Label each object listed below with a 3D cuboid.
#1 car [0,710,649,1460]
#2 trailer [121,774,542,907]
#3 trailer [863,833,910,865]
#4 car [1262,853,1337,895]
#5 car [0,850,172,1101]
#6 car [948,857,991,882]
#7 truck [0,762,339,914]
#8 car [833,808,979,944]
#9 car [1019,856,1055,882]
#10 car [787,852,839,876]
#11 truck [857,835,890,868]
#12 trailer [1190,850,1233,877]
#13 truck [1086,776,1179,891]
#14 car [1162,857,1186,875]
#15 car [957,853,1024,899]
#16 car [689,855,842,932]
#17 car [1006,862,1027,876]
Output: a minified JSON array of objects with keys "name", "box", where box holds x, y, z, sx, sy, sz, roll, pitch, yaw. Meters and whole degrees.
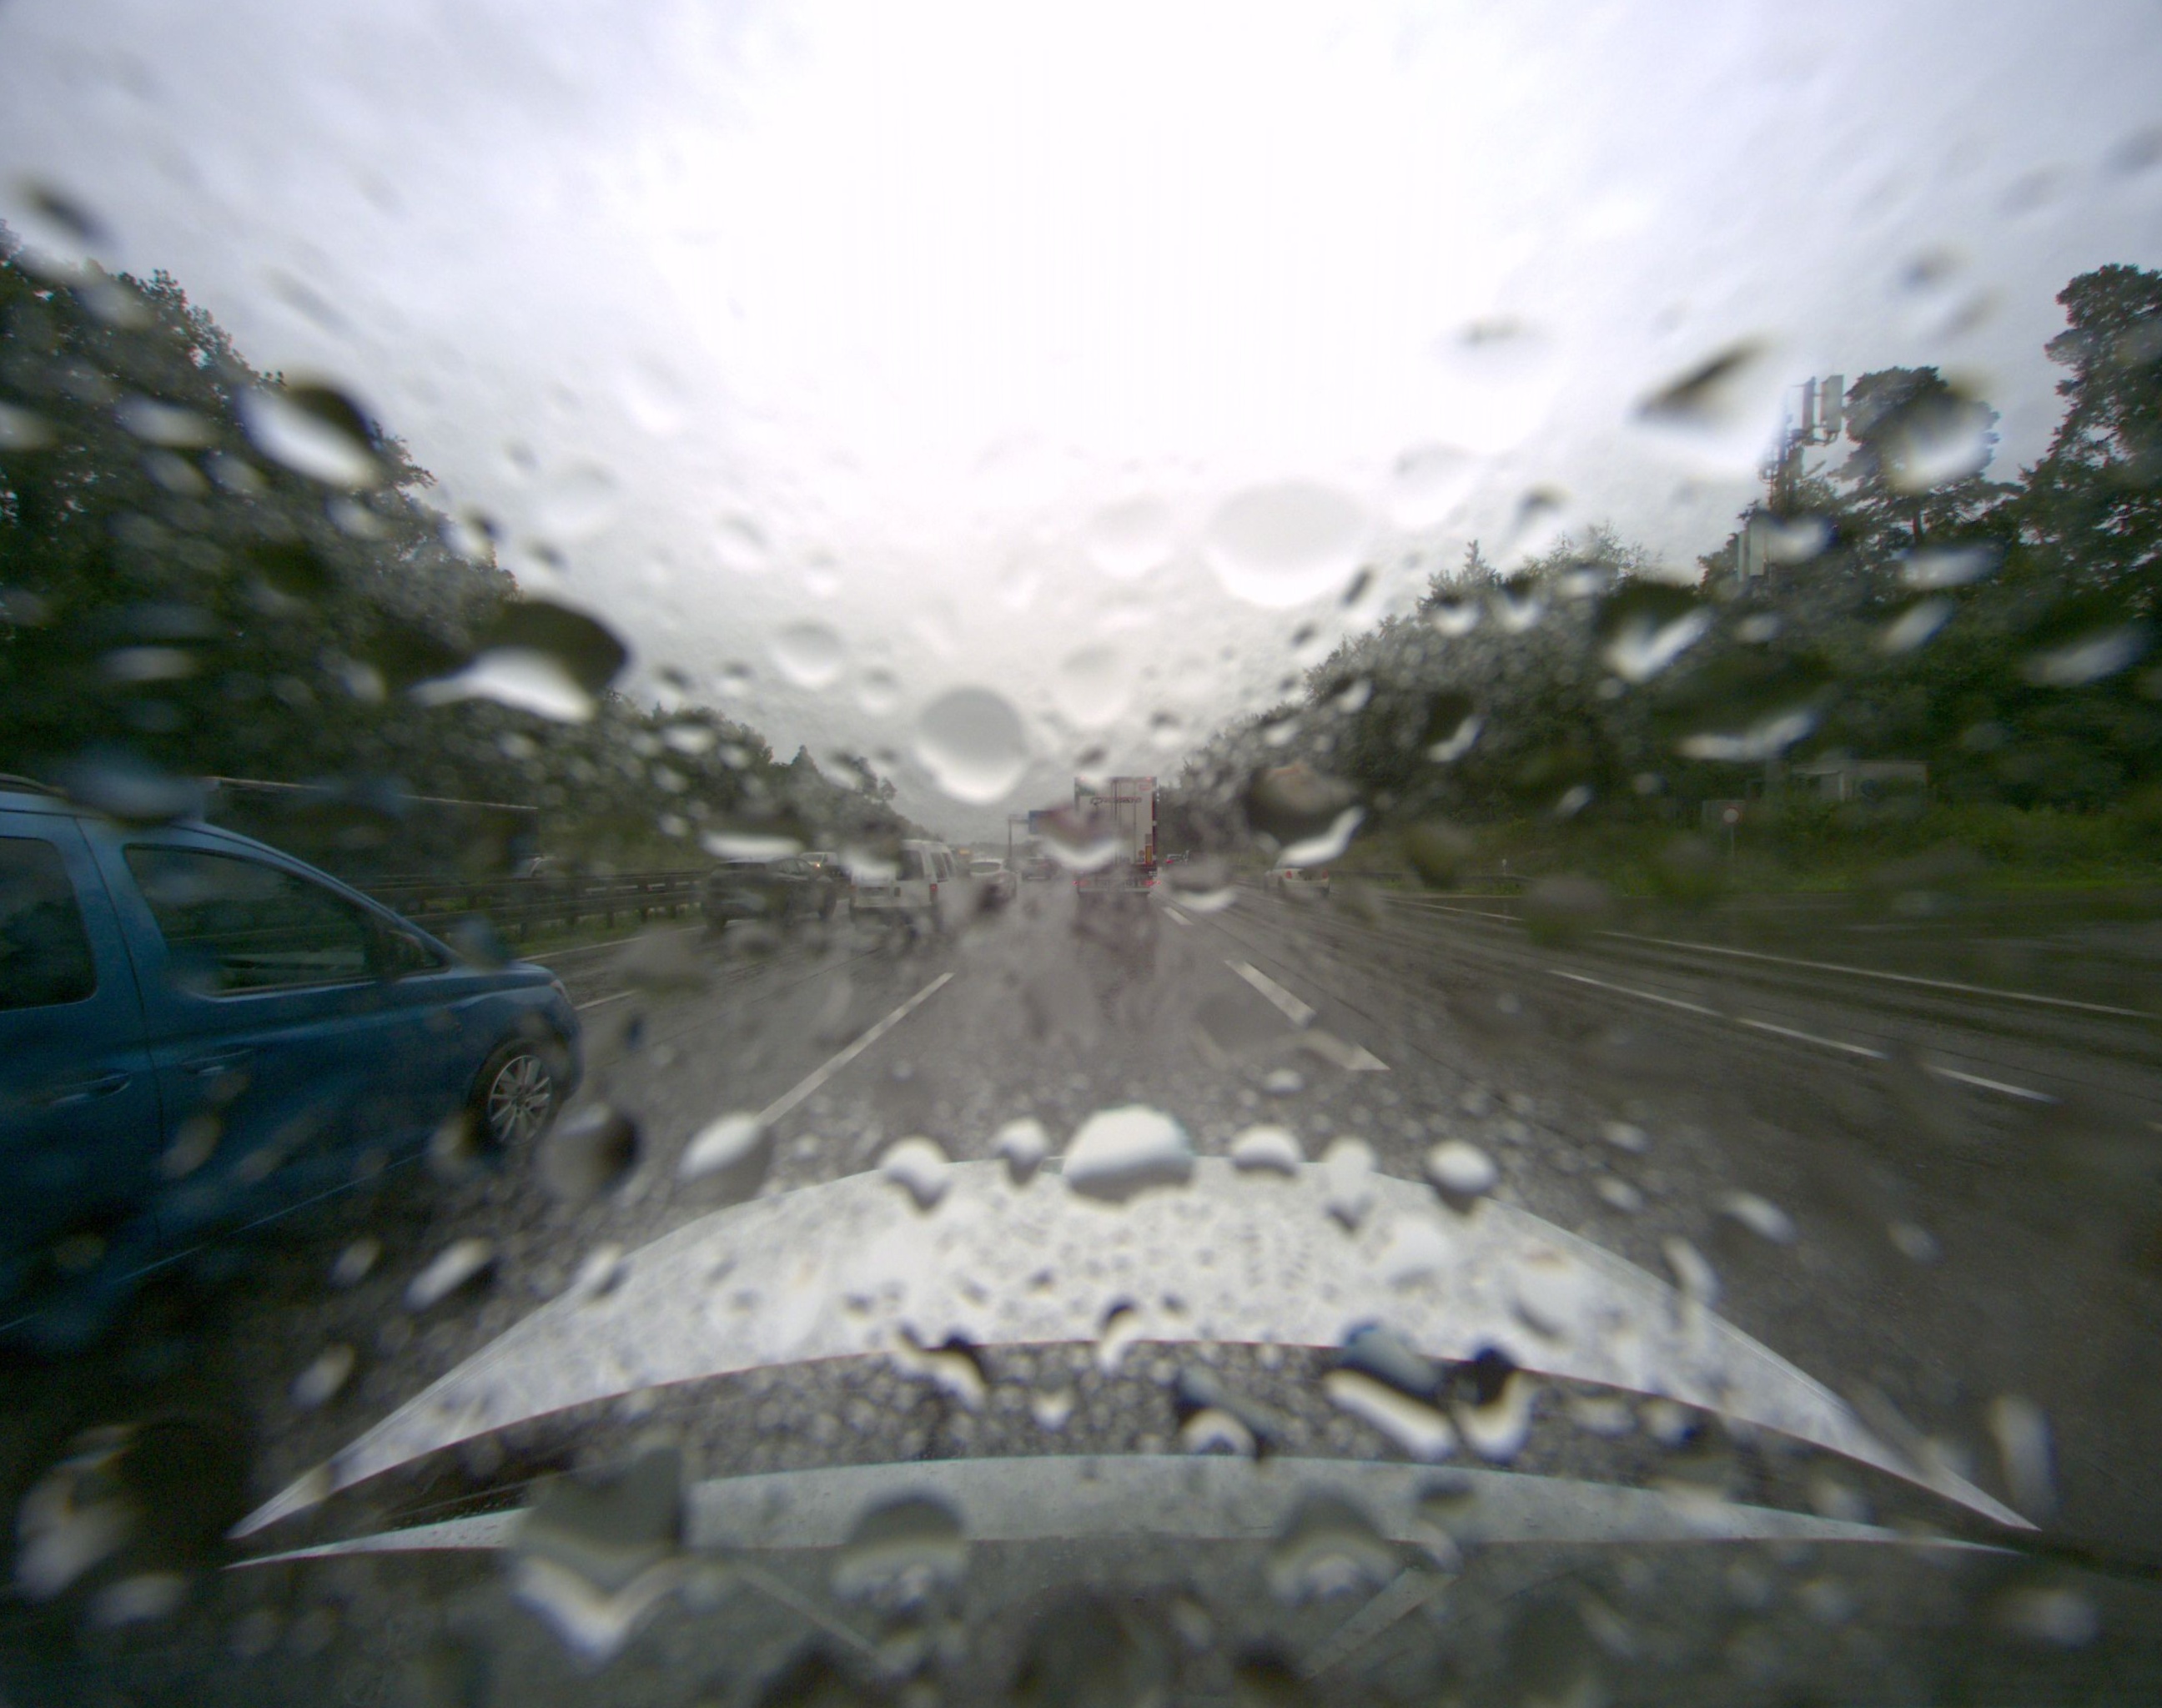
[{"name":"car","box":[-3.870,0.594,2.367,2.259,1.912,5.021,0,0,4]},{"name":"trailer","box":[-26.168,-0.395,30.331,3.014,3.818,13.560,-1,0,1]},{"name":"trailer","box":[-26.299,-0.612,110.985,2.710,3.954,13.960,-2,0,1]},{"name":"car","box":[7.999,0.695,30.190,1.783,1.407,4.230,0,0,2]},{"name":"car","box":[-7.835,0.785,3.896,1.838,1.591,4.469,0,0,2]},{"name":"car","box":[-6.359,0.854,46.755,1.840,1.330,4.466,0,0,0]},{"name":"truck","box":[-26.191,-0.408,23.853,3.009,3.818,6.266,-1,0,1]},{"name":"car","box":[-3.645,0.408,18.014,2.206,2.573,5.013,0,0,-1]},{"name":"car","box":[-2.842,0.965,53.737,1.837,1.591,4.471,0,0,4]},{"name":"car","box":[-18.257,0.677,55.740,1.987,1.507,4.706,-1,0,0]},{"name":"truck","box":[-26.420,-0.287,103.875,2.694,3.954,4.892,-2,0,1]},{"name":"trailer","box":[8.739,0.610,54.902,2.235,1.714,5.084,0,0,1]},{"name":"truck","box":[1.839,-0.595,31.024,2.861,3.562,11.308,0,0,2]},{"name":"car","box":[8.627,1.059,75.794,1.981,1.583,4.773,0,0,4]},{"name":"car","box":[-3.366,0.774,30.954,1.838,1.591,4.075,0,0,3]},{"name":"car","box":[-7.312,0.840,19.442,1.839,1.591,4.467,0,0,1]},{"name":"car","box":[-6.651,1.547,84.901,1.840,1.330,4.466,0,0,0]}]
